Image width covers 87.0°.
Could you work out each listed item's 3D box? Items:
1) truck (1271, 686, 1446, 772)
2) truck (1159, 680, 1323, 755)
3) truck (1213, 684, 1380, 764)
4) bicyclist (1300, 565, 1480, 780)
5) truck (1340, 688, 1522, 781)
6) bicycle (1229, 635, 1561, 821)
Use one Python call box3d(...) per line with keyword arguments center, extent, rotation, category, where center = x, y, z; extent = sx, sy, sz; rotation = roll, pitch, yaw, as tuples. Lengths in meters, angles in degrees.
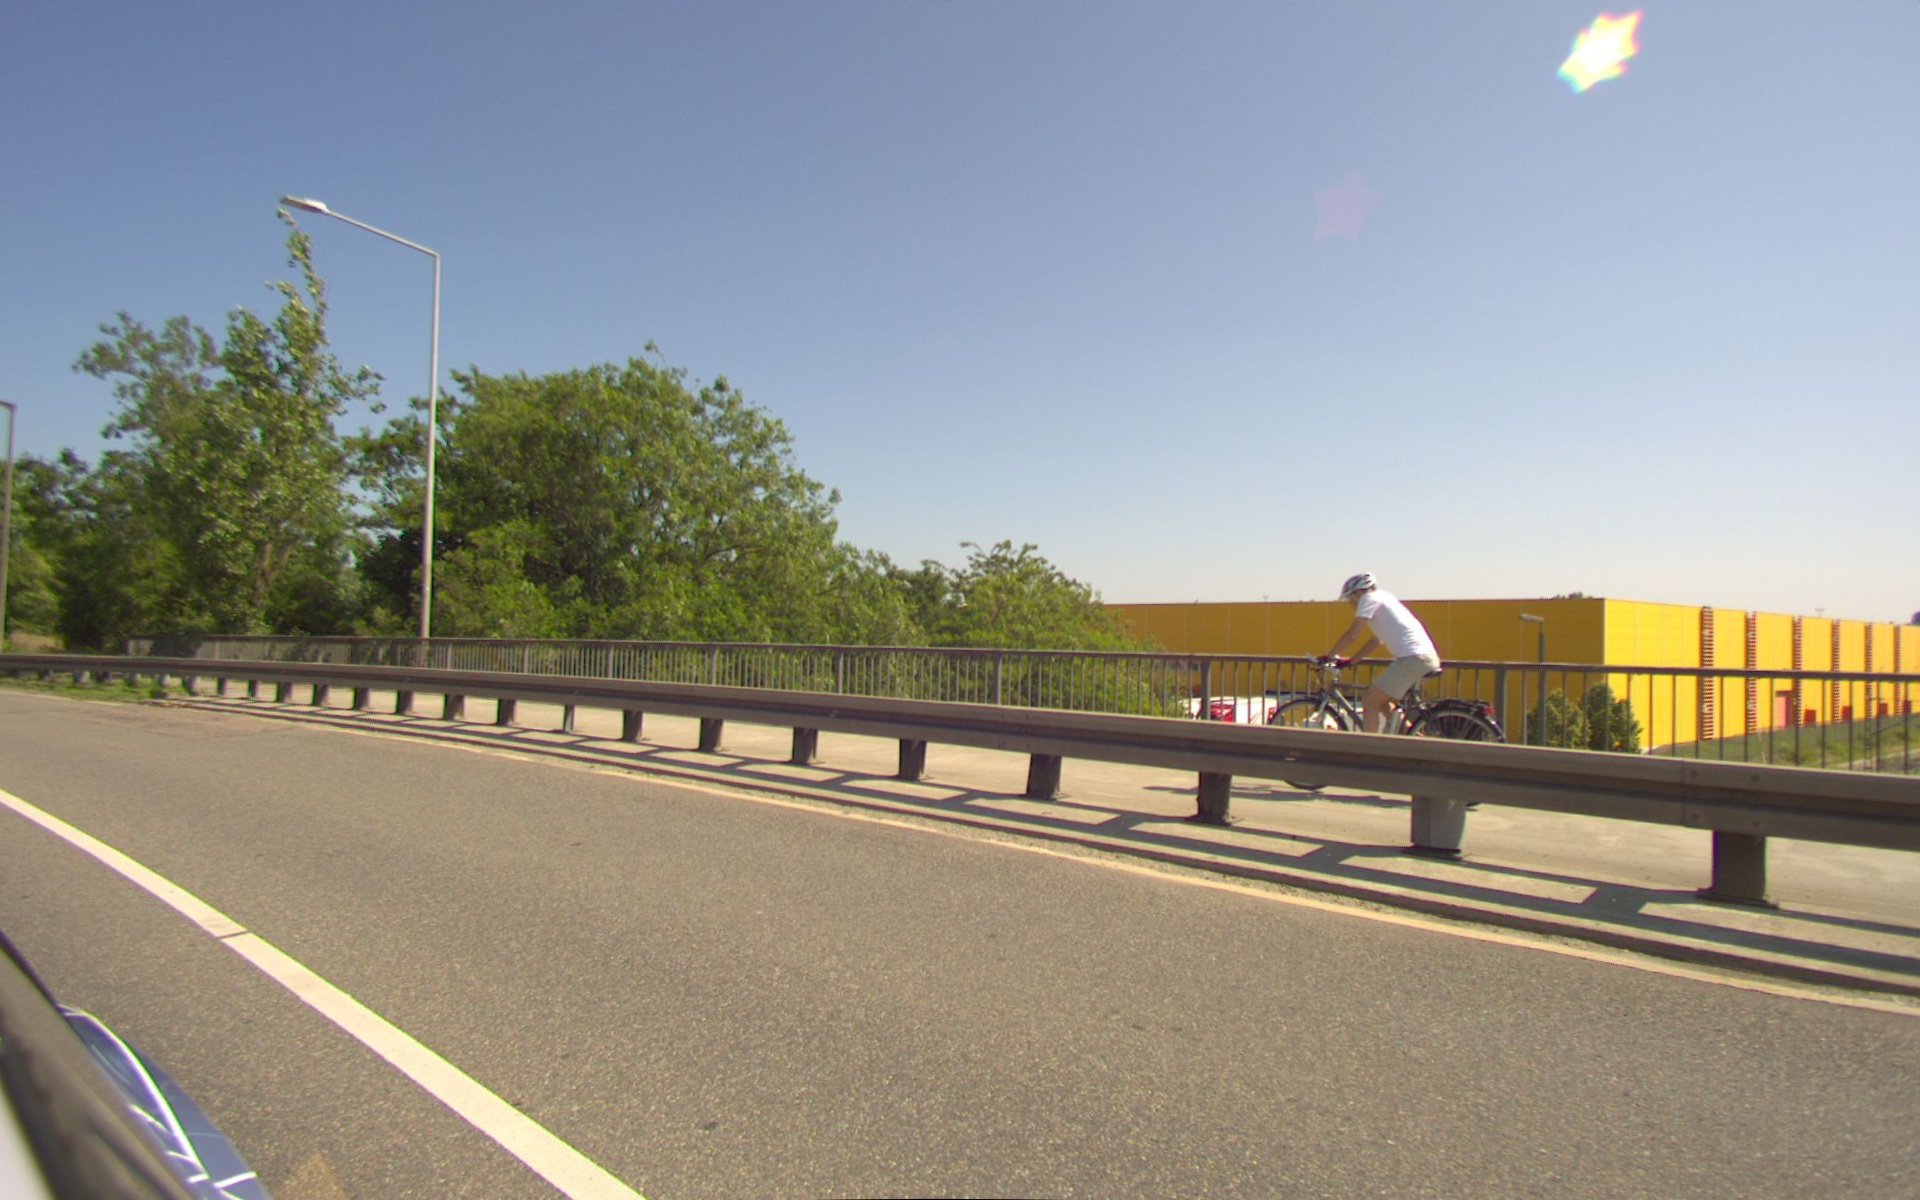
box3d(center=(34.721, 10.828, 87.521), extent=(17.261, 5.719, 5.990), rotation=(1, -1, -37), category="truck")
box3d(center=(27.390, 11.042, 97.868), extent=(17.261, 5.719, 5.990), rotation=(1, -1, -37), category="truck")
box3d(center=(31.028, 11.056, 92.685), extent=(17.261, 5.719, 5.802), rotation=(1, -1, -37), category="truck")
box3d(center=(3.140, 0.504, 7.409), extent=(1.078, 1.450, 0.601), rotation=(-1, -3, 42), category="bicyclist")
box3d(center=(38.561, 10.605, 82.328), extent=(17.261, 5.719, 5.990), rotation=(1, -1, -37), category="truck")
box3d(center=(3.109, 0.862, 7.413), extent=(2.149, 1.143, 0.605), rotation=(0, -4, 42), category="bicycle")
